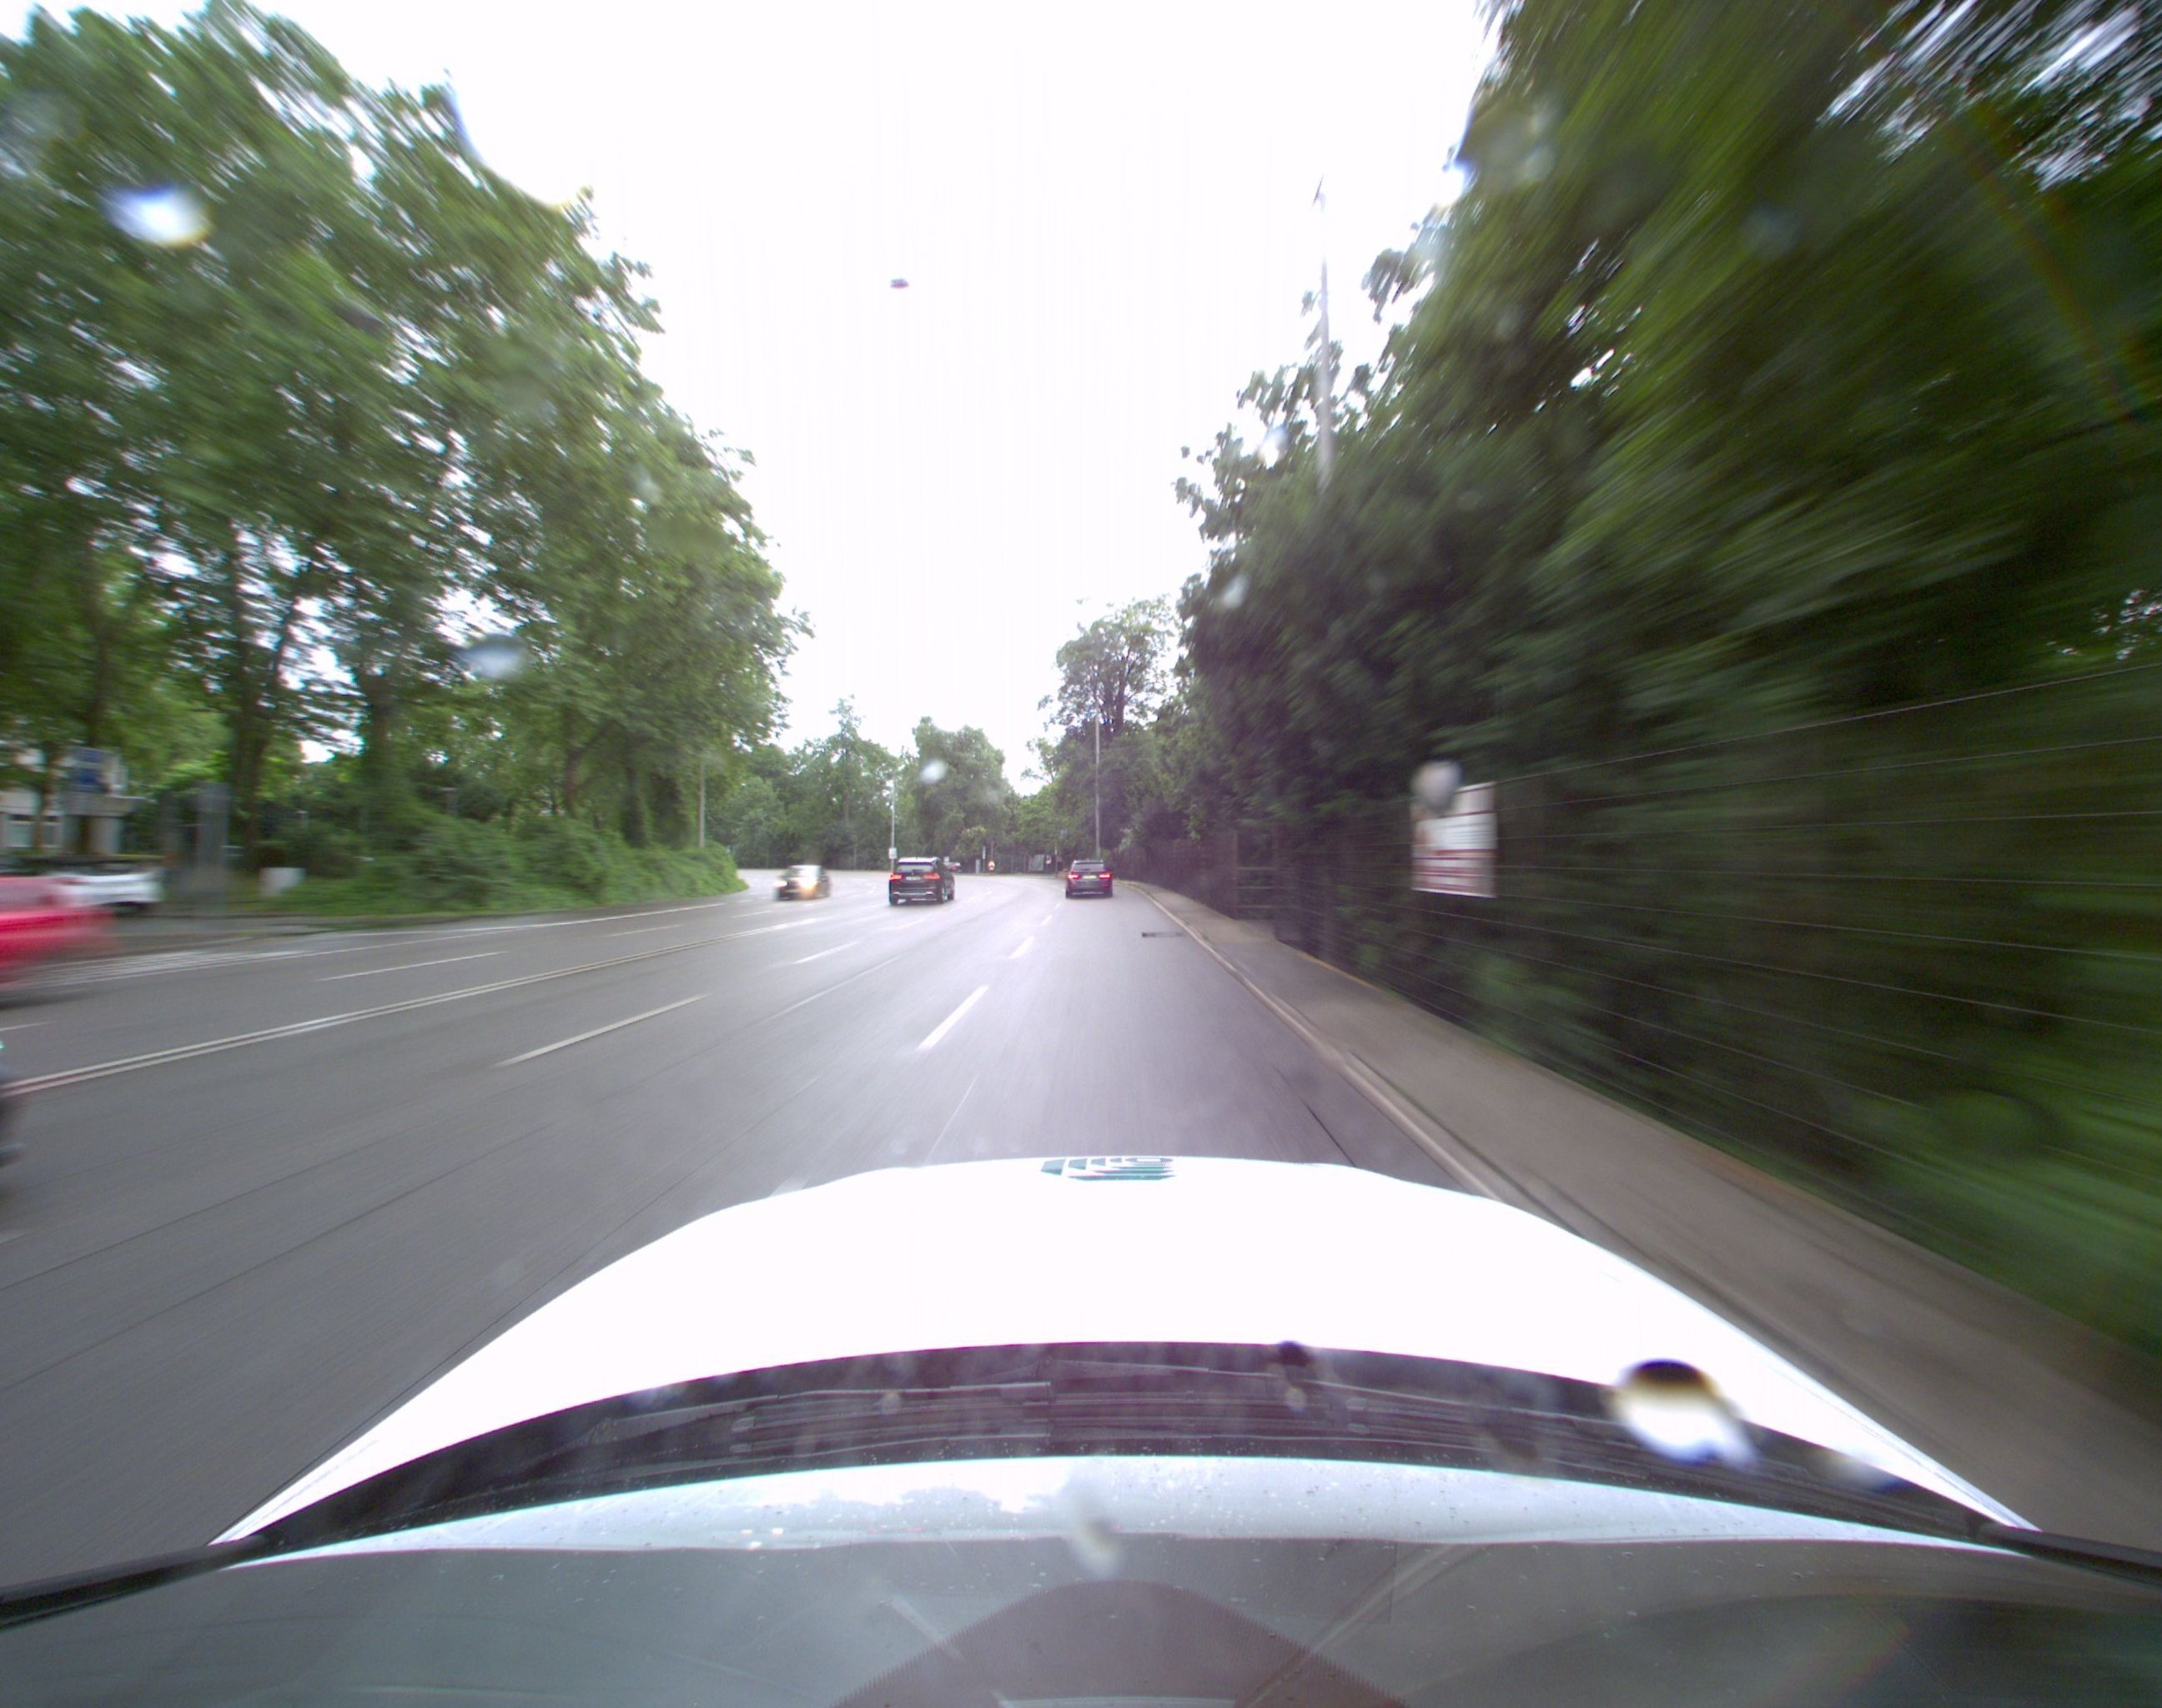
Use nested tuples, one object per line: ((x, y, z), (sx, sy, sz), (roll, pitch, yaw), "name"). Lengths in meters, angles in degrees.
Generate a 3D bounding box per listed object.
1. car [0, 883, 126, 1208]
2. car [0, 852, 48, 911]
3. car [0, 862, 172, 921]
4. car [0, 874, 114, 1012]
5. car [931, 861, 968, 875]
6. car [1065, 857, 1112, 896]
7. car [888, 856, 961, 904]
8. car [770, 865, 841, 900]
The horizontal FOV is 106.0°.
((-5.606, 0.840, 1.762), (1.659, 1.415, 4.540), (0, 0, 1), "car")
((-30.000, 0.744, 21.443), (3.790, 1.512, 1.783), (-1, 1, 8), "car")
((-25.868, 0.928, 20.915), (3.472, 1.376, 1.784), (0, 1, 10), "car")
((-12.011, 0.932, 7.434), (1.574, 1.414, 3.963), (0, 0, 1), "car")
((-14.211, 1.482, 87.950), (4.316, 1.427, 1.702), (0, -4, 44), "car")
((0.307, 0.852, 32.420), (1.752, 1.432, 4.412), (0, 0, 0), "car")
((-5.611, 0.887, 29.736), (1.752, 1.586, 4.412), (1, 0, 0), "car")
((-11.682, 1.181, 34.778), (1.695, 1.339, 3.915), (0, 0, 0), "car")
